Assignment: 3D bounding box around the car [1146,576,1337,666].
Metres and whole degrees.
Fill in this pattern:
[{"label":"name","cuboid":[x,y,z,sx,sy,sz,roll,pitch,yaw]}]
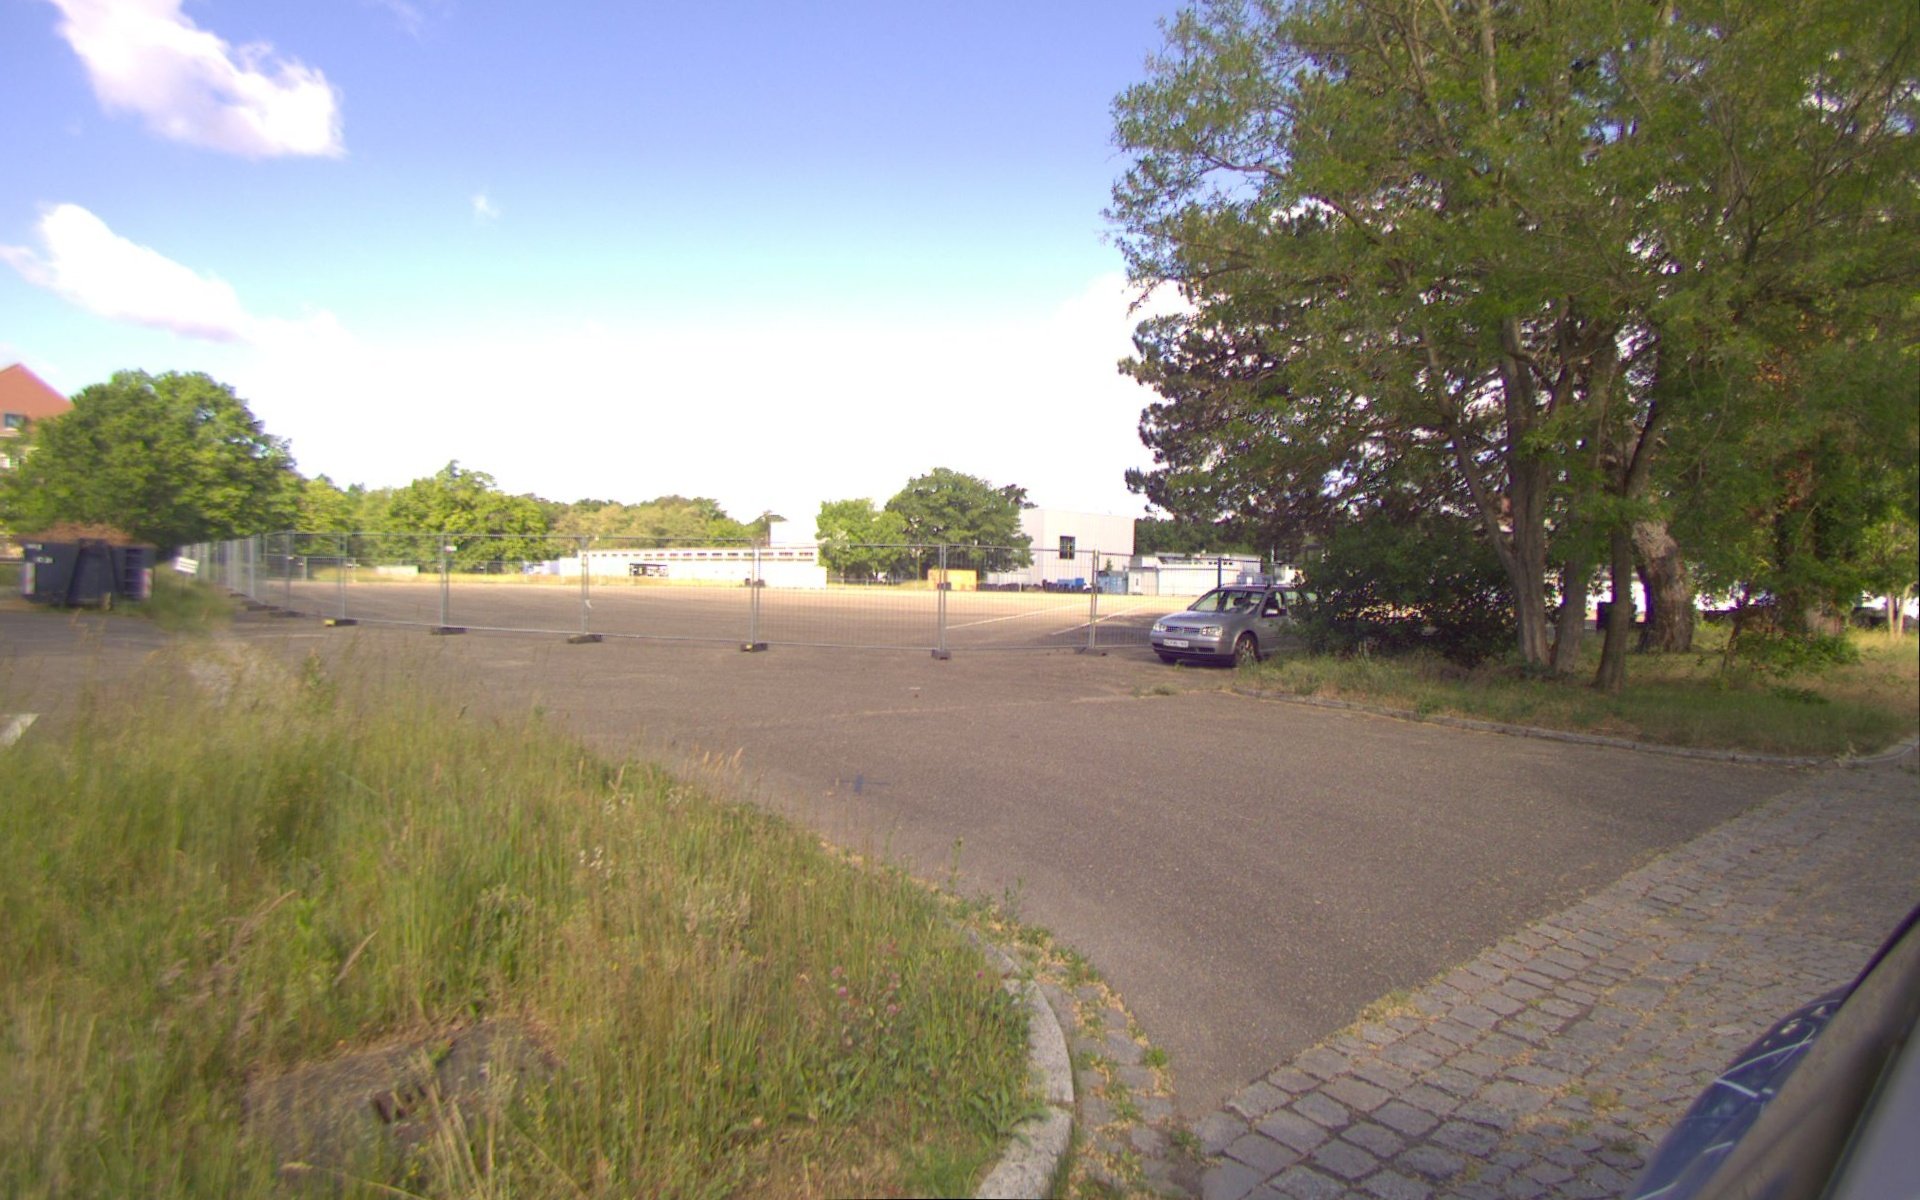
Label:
[{"label":"car","cuboid":[5.238,0.336,18.571,3.920,1.462,1.576,0,2,-43]}]
